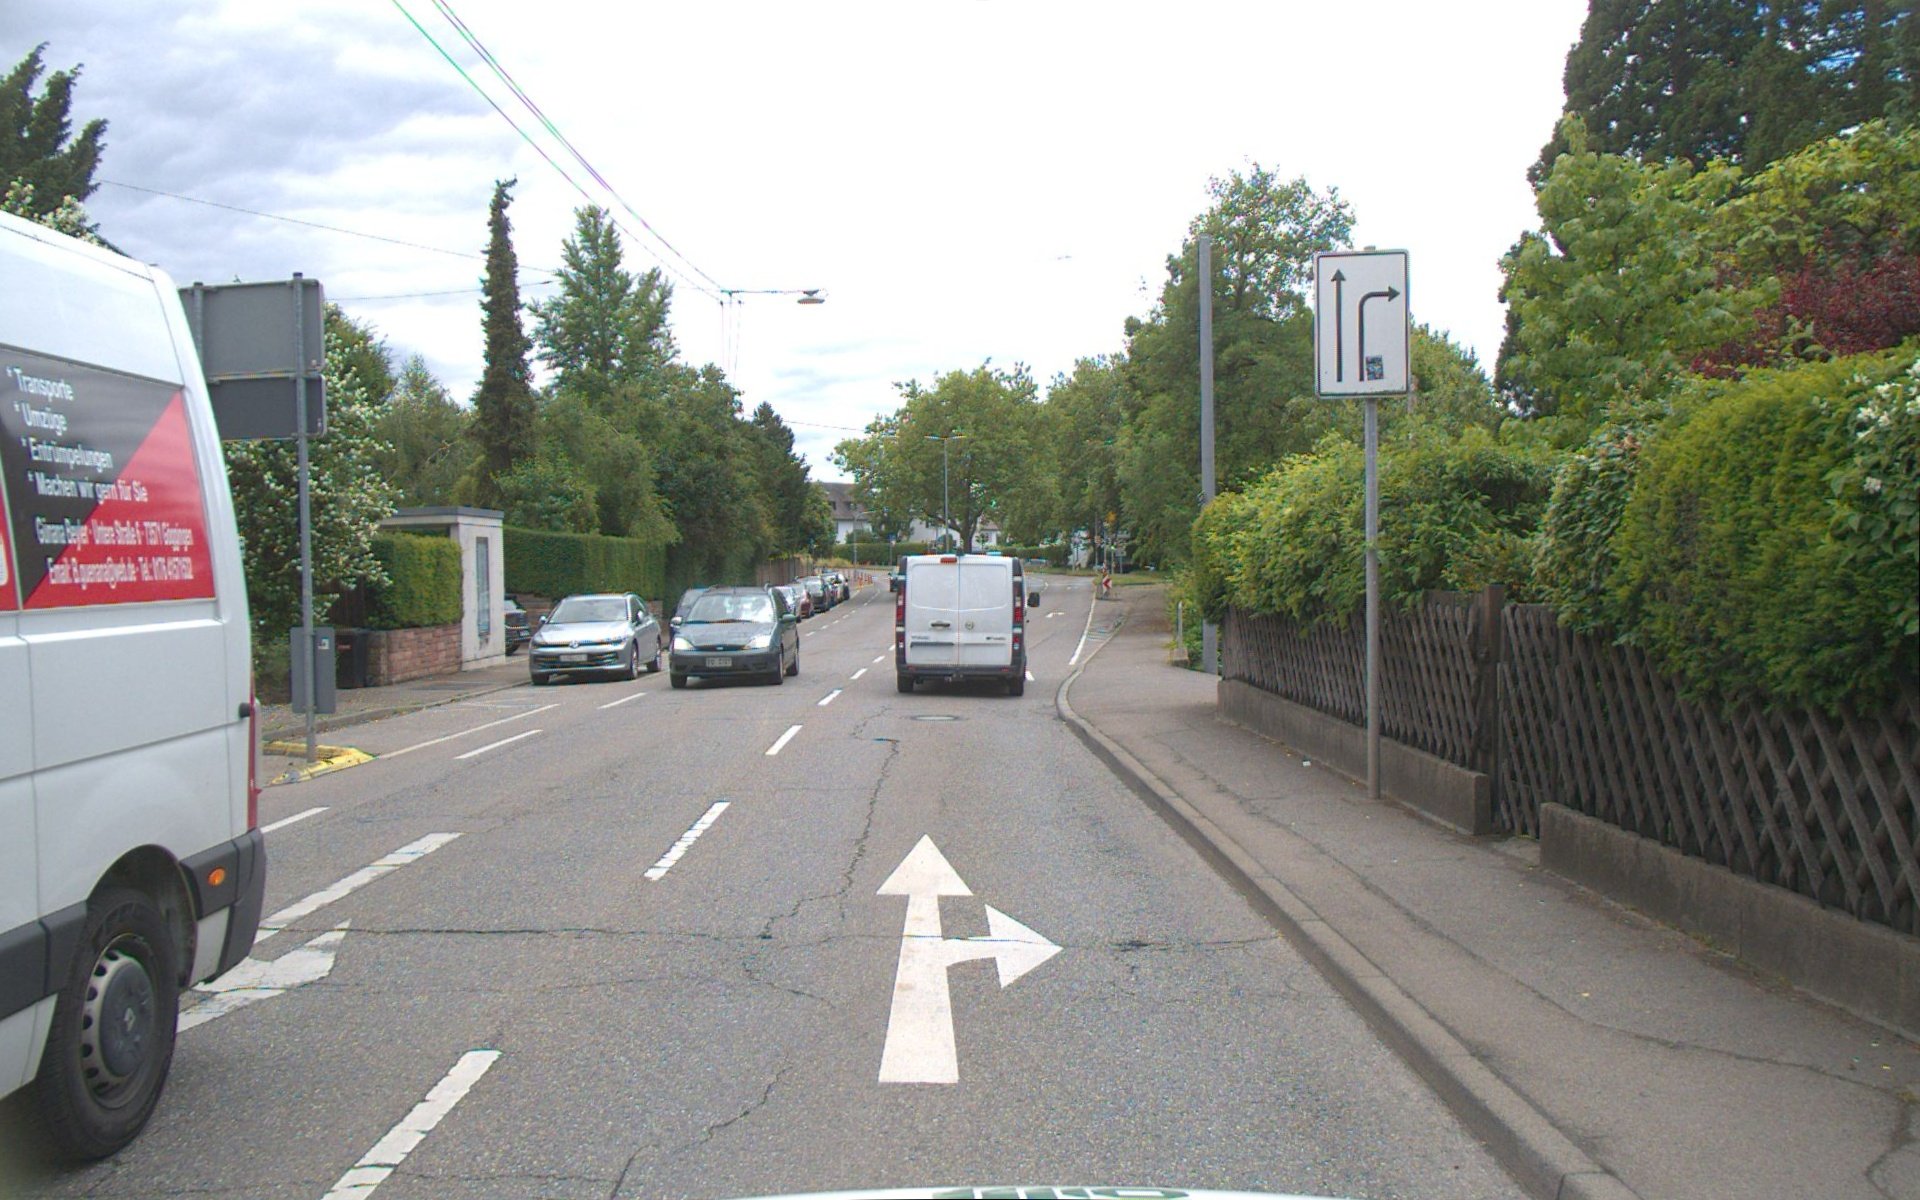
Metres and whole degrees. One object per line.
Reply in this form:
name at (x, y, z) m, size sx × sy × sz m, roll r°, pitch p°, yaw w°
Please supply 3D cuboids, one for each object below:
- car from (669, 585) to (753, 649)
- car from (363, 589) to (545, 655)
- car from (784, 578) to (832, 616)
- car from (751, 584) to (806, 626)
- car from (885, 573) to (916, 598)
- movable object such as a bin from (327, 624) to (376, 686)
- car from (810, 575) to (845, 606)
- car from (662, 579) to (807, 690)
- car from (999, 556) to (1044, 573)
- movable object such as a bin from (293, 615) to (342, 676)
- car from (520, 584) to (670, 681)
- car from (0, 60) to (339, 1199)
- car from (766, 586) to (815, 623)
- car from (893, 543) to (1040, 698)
car at (-6.610, 0.432, 44.259) m, size 1.644 × 1.583 × 3.970 m, roll -2°, pitch 0°, yaw -1°
car at (-11.553, 0.490, 37.863) m, size 3.512 × 1.415 × 1.851 m, roll -1°, pitch 1°, yaw 8°
car at (-7.107, -0.169, 77.709) m, size 1.953 × 1.671 × 4.465 m, roll -1°, pitch 1°, yaw -2°
car at (-6.986, 0.171, 63.926) m, size 1.635 × 1.514 × 4.430 m, roll -2°, pitch 1°, yaw -1°
car at (-4.040, -1.001, 113.043) m, size 1.804 × 1.676 × 4.214 m, roll -1°, pitch 0°, yaw 2°
movable object such as a bin at (-9.569, 0.865, 26.026) m, size 0.527 × 0.958 × 0.509 m, roll 0°, pitch -1°, yaw 12°
car at (-7.506, -0.552, 94.126) m, size 1.638 × 1.619 × 4.096 m, roll -2°, pitch 1°, yaw -1°
car at (-3.489, 0.475, 26.310) m, size 1.699 × 1.580 × 4.447 m, roll -1°, pitch 1°, yaw -1°
car at (6.681, -3.842, 179.278) m, size 4.655 × 1.800 × 1.991 m, roll 1°, pitch 2°, yaw 39°
movable object such as a bin at (-10.229, 0.719, 26.323) m, size 0.527 × 0.958 × 0.509 m, roll 0°, pitch -1°, yaw 12°
car at (-6.387, 0.515, 29.417) m, size 1.773 × 1.480 × 4.412 m, roll -3°, pitch 1°, yaw -2°
car at (-3.015, 0.141, 2.332) m, size 2.069 × 2.542 × 6.122 m, roll -1°, pitch 0°, yaw -1°
car at (-7.217, 0.188, 70.727) m, size 1.743 × 1.463 × 3.999 m, roll -1°, pitch 1°, yaw -2°
car at (0.173, 0.250, 25.158) m, size 1.964 × 2.073 × 5.012 m, roll 2°, pitch 1°, yaw 2°
